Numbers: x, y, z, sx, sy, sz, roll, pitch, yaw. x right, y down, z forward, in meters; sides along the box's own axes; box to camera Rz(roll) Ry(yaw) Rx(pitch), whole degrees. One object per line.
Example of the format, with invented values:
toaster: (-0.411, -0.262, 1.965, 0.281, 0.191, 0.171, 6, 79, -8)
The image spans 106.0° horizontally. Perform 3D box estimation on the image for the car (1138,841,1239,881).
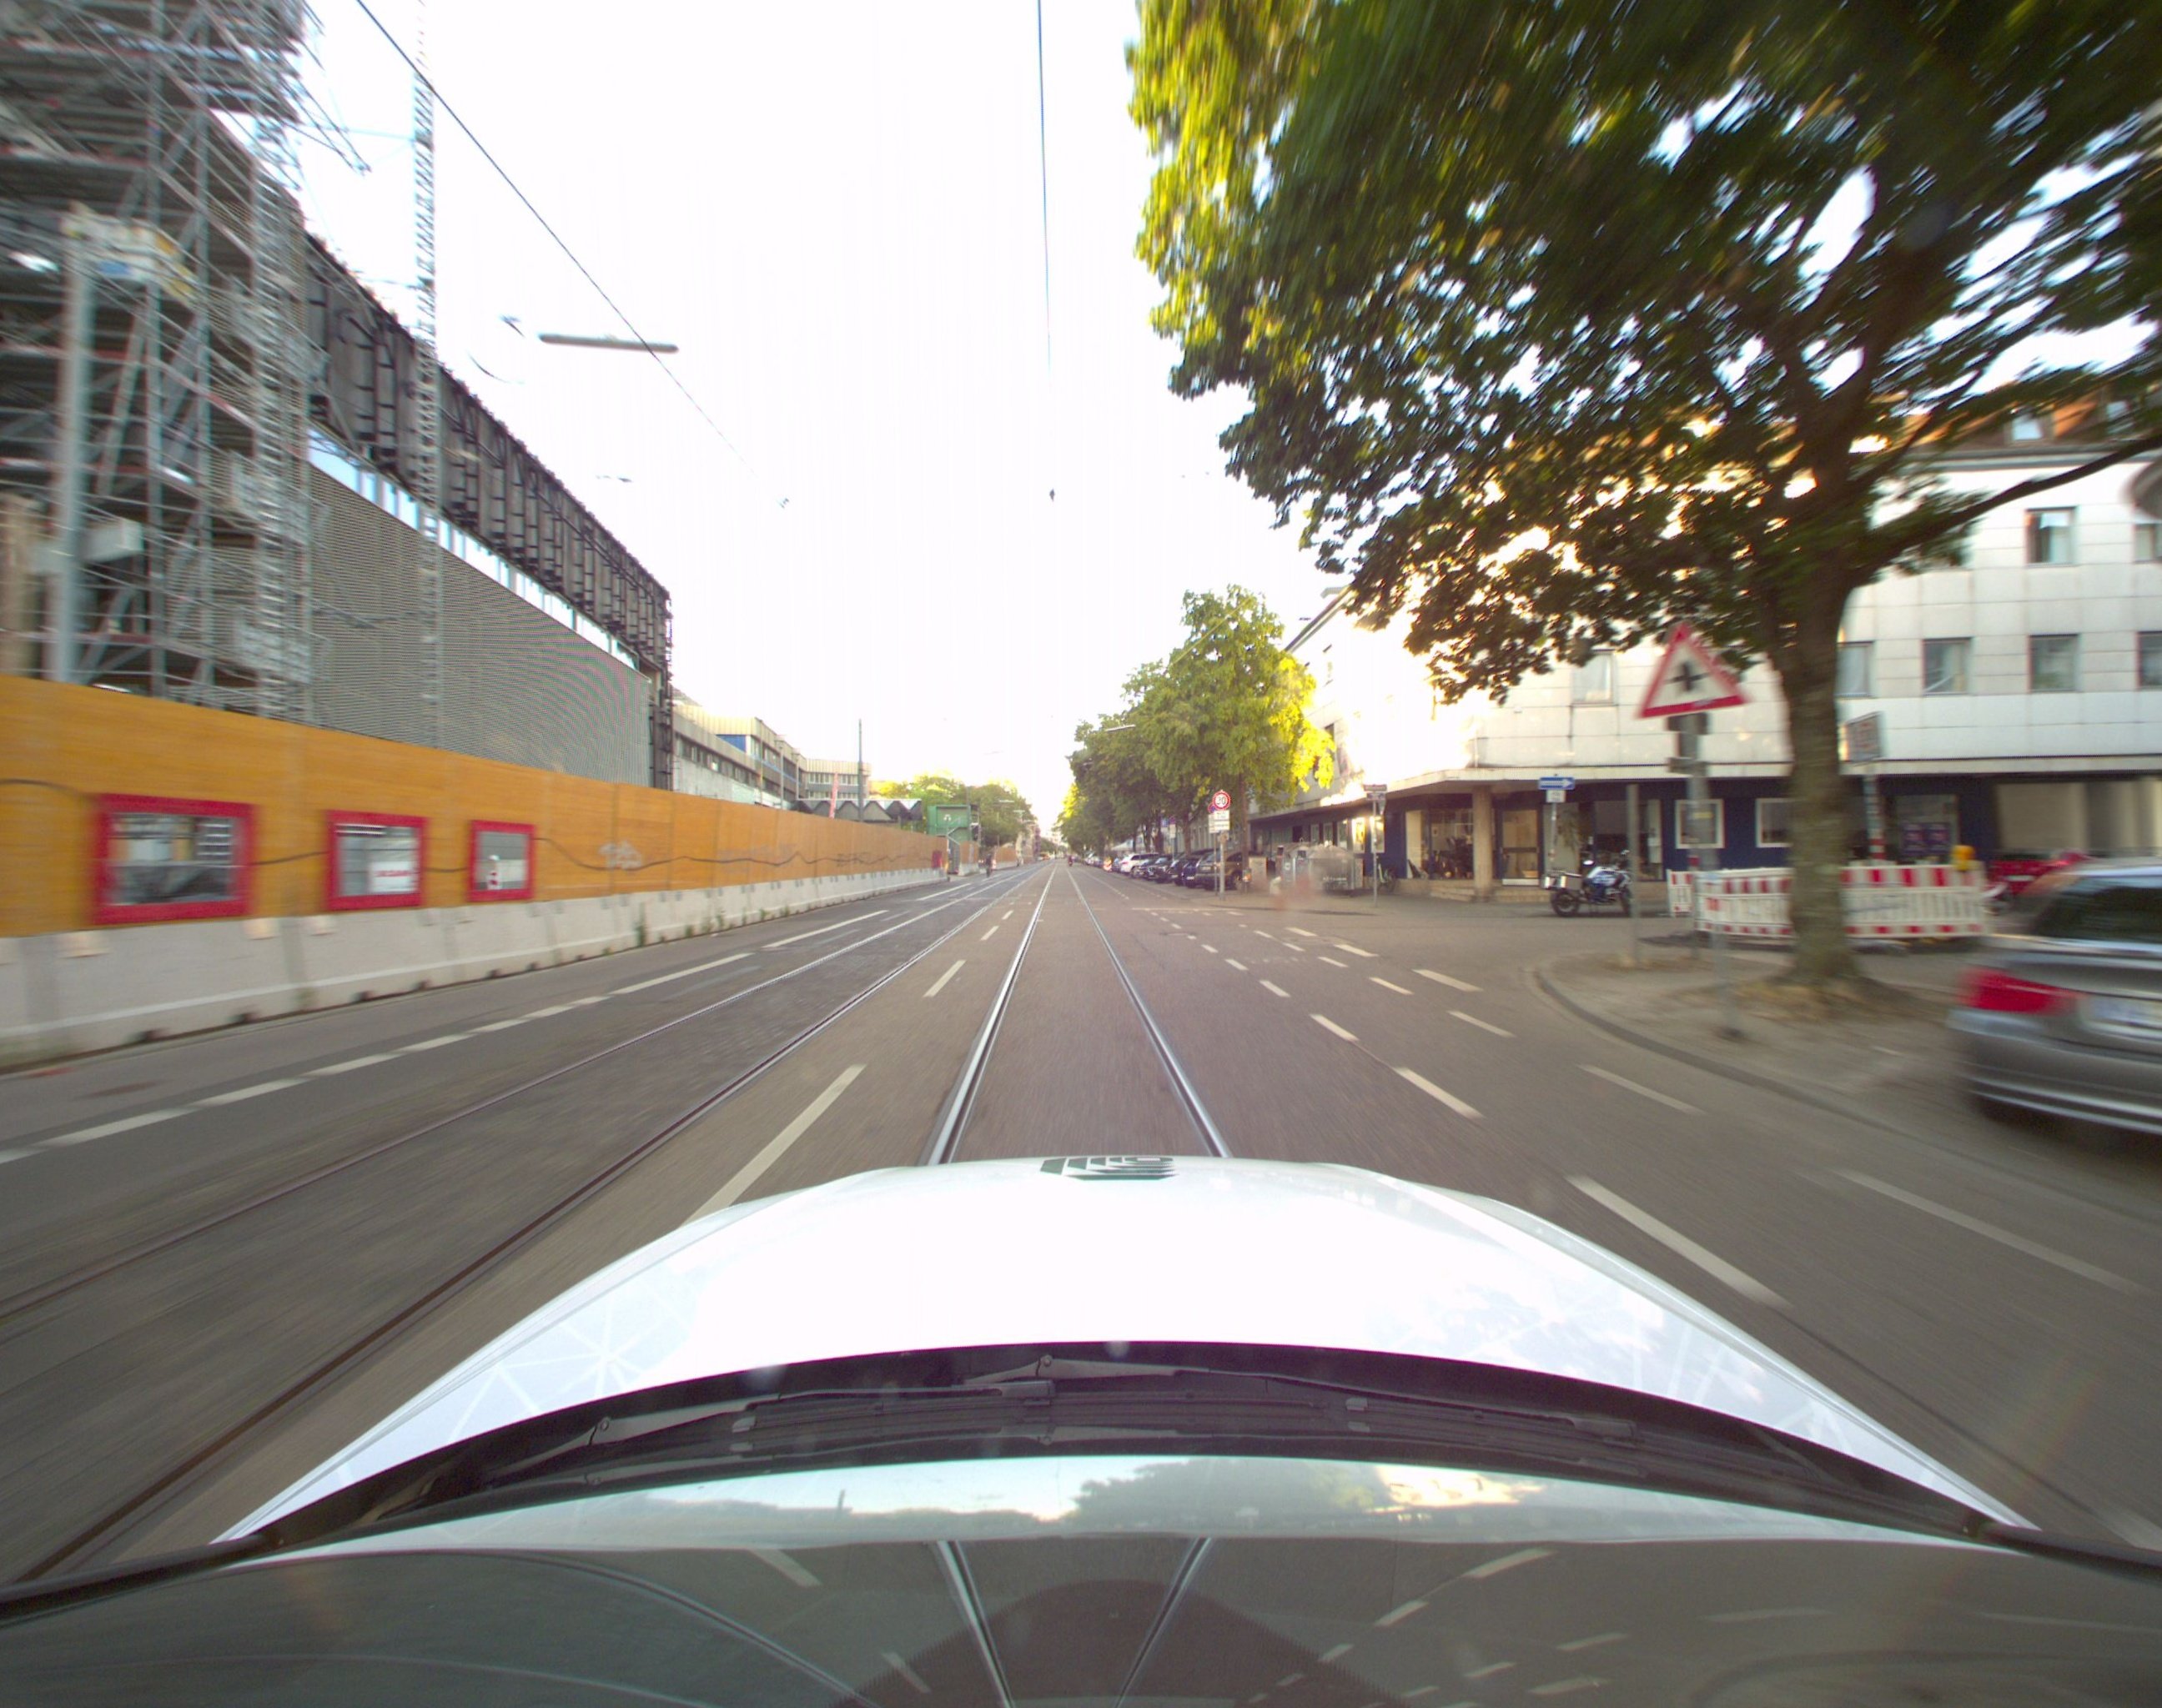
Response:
car: (5.929, 0.373, 44.874, 4.981, 1.826, 2.193, -4, 0, -20)

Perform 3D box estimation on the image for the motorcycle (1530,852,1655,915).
motorcycle: (11.823, 0.677, 18.917, 2.081, 1.405, 1.292, -1, -1, 5)

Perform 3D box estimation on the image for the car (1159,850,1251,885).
car: (6.218, 0.666, 40.679, 4.181, 1.465, 1.952, -4, 0, -30)

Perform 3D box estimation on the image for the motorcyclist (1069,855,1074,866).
motorcyclist: (-1.450, 1.066, 126.329, 0.643, 1.697, 1.025, -1, -1, -2)

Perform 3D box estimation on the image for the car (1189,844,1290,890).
car: (6.794, 0.549, 34.744, 4.187, 1.664, 1.822, -4, 0, -36)

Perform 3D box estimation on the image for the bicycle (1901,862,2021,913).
bicycle: (19.455, 0.715, 18.064, 0.524, 1.056, 1.868, -1, 0, -5)

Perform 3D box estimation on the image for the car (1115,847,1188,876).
car: (4.854, 0.508, 56.446, 4.645, 1.688, 2.003, -3, 0, -8)

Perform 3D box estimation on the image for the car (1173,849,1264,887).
car: (6.396, 0.650, 37.782, 3.909, 1.502, 1.795, -4, 0, -33)

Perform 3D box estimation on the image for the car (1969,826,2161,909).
car: (22.392, 0.255, 17.483, 4.324, 1.668, 1.858, -1, 0, 7)

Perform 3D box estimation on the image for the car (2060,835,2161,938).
car: (17.635, 0.437, 12.065, 3.868, 1.491, 1.856, -1, 0, 4)

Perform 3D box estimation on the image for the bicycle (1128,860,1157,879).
bicycle: (4.094, 1.012, 54.341, 1.839, 1.102, 0.495, -4, 0, -16)

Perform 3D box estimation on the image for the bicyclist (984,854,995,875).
bicyclist: (-7.362, 0.833, 65.295, 0.766, 1.665, 1.017, -1, 0, -2)

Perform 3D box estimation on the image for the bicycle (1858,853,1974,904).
bicycle: (18.395, 0.526, 18.011, 0.587, 1.056, 2.102, -1, -1, 7)

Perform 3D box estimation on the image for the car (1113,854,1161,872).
car: (4.840, 0.793, 70.515, 3.793, 1.408, 1.691, -3, 0, -27)

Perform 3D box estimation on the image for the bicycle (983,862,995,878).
bicycle: (-7.368, 1.252, 65.284, 0.766, 1.228, 1.935, -1, 0, -2)

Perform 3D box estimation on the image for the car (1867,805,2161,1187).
car: (6.510, 0.514, 4.506, 4.621, 1.513, 1.845, -4, 2, -29)

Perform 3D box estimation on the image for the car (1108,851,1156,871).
car: (4.596, 0.652, 73.046, 3.983, 1.553, 1.691, -3, 0, -27)

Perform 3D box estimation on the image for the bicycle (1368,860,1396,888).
bicycle: (10.222, 0.674, 27.676, 0.340, 0.882, 1.324, -4, 0, -4)

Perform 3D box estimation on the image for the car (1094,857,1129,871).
car: (3.990, 1.302, 106.038, 4.131, 1.470, 1.811, -4, 0, -21)

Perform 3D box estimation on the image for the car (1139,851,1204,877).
car: (5.837, 0.640, 52.600, 3.767, 1.426, 1.712, -4, 0, -26)

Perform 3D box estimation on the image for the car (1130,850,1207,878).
car: (5.352, 0.624, 49.811, 4.232, 1.426, 1.960, -4, 0, -24)

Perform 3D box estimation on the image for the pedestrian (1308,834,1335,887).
pedestrian: (9.367, 0.240, 31.725, 0.690, 1.985, 0.785, -4, 0, -2)

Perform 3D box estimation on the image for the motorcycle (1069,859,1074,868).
motorcycle: (-1.453, 1.519, 126.387, 0.643, 1.369, 1.810, -1, -1, -2)

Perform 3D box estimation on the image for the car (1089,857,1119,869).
car: (3.453, 1.352, 123.722, 4.254, 1.549, 2.011, -2, -1, -13)

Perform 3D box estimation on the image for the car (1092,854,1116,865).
car: (3.850, 0.931, 137.182, 3.939, 1.620, 1.920, -3, -1, -2)
